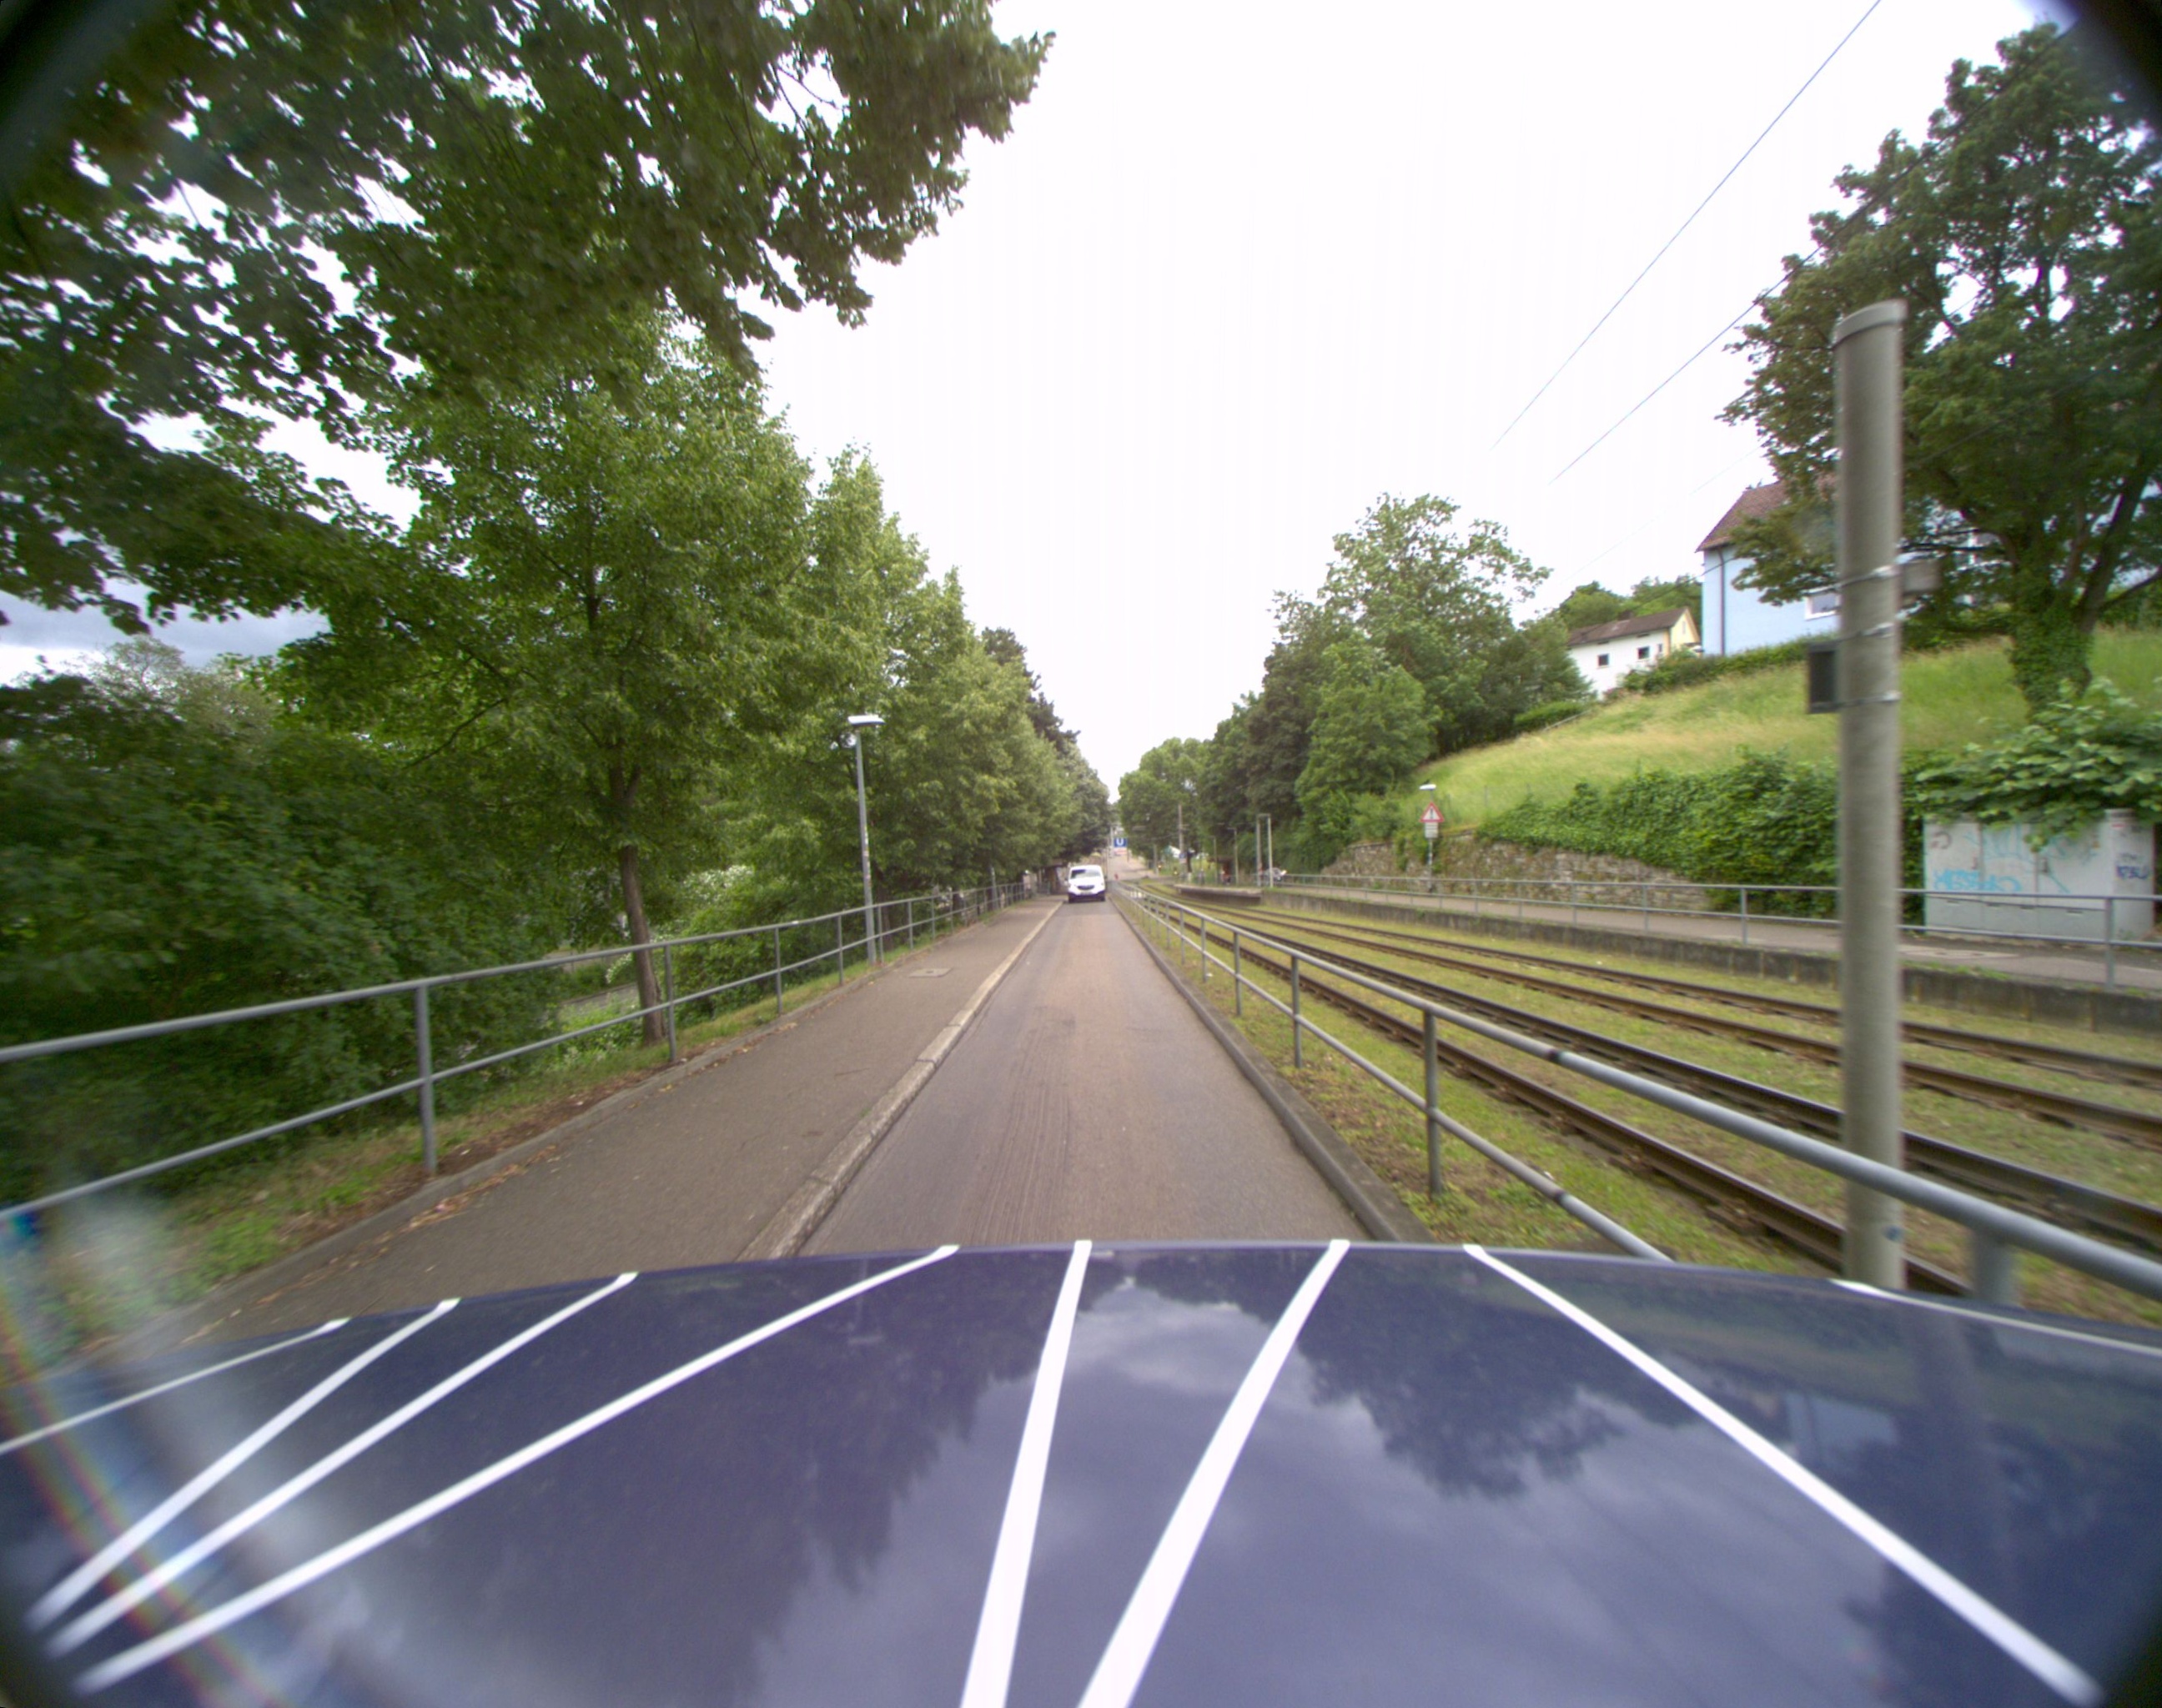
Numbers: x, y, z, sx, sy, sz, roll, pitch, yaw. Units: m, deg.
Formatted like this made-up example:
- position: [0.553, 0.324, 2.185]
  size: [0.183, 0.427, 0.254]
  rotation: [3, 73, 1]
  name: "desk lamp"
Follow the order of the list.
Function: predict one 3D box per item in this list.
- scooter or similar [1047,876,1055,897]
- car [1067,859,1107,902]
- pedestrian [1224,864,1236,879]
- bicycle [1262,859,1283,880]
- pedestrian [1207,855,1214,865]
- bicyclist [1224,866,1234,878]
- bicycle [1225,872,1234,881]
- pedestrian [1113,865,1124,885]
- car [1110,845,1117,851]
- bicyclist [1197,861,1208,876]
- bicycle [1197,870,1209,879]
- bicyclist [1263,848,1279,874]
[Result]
- position: [-2.083, 2.248, 53.084]
  size: [0.431, 1.376, 1.455]
  rotation: [-3, 0, 1]
  name: "scooter or similar"
- position: [0.340, 1.262, 37.847]
  size: [1.810, 1.910, 4.479]
  rotation: [-3, 0, 2]
  name: "car"
- position: [14.091, 1.684, 71.745]
  size: [0.823, 1.366, 0.774]
  rotation: [-3, 0, -5]
  name: "pedestrian"
- position: [11.946, 0.992, 47.409]
  size: [0.752, 1.232, 2.868]
  rotation: [-4, -2, 5]
  name: "bicycle"
- position: [22.444, 1.067, 131.604]
  size: [1.117, 1.723, 0.694]
  rotation: [-3, 0, 7]
  name: "pedestrian"
- position: [12.791, 1.556, 65.787]
  size: [0.691, 1.046, 0.745]
  rotation: [-3, -2, 1]
  name: "bicyclist"
- position: [12.863, 1.977, 65.678]
  size: [0.451, 0.776, 1.565]
  rotation: [-3, -2, 1]
  name: "bicycle"
- position: [2.879, 1.618, 58.823]
  size: [0.739, 1.493, 0.627]
  rotation: [-3, -2, 2]
  name: "pedestrian"
- position: [10.327, -1.855, 240.937]
  size: [1.997, 1.647, 4.002]
  rotation: [-3, 0, 7]
  name: "car"
- position: [12.291, 1.451, 77.132]
  size: [0.747, 1.422, 0.907]
  rotation: [-2, -3, -12]
  name: "bicyclist"
- position: [12.389, 2.081, 77.130]
  size: [0.479, 0.919, 1.843]
  rotation: [-2, -3, -12]
  name: "bicycle"
- position: [11.953, 0.454, 47.918]
  size: [0.706, 1.618, 1.033]
  rotation: [-4, -2, 4]
  name: "bicyclist"
